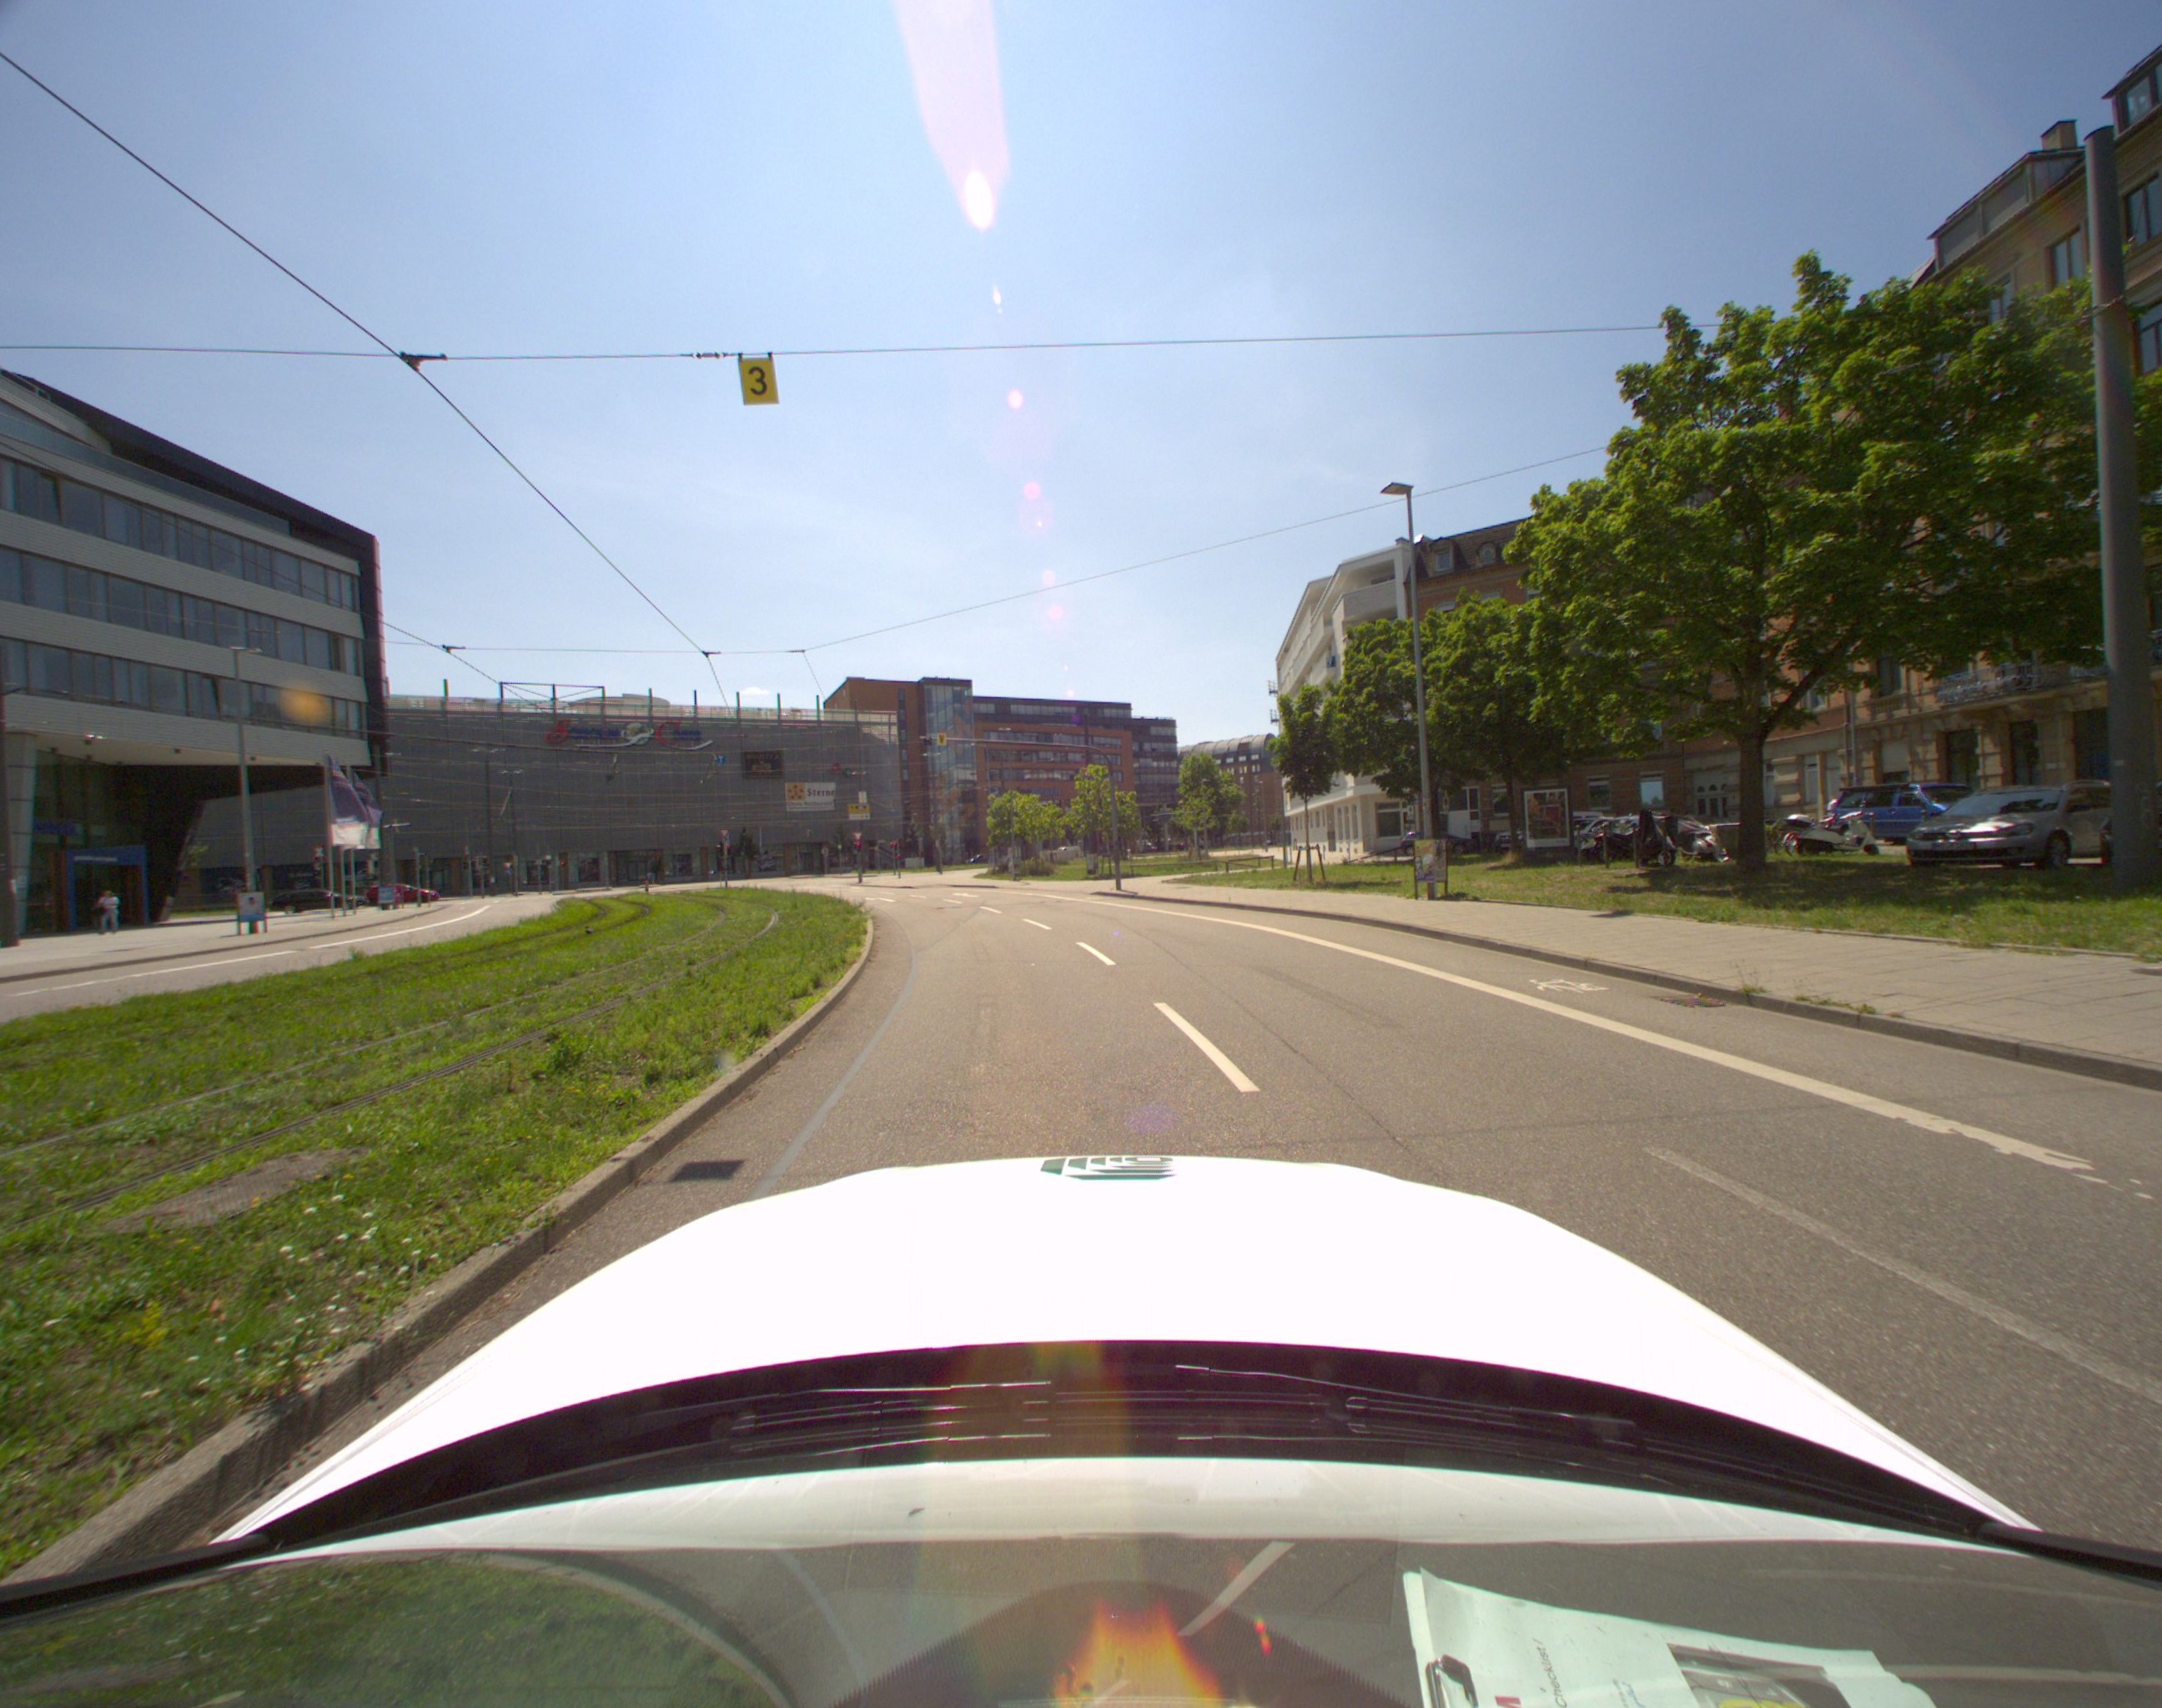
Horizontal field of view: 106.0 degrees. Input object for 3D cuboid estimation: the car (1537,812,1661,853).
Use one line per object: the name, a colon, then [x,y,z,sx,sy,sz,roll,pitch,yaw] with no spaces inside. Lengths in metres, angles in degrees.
car: [18.965,-0.772,29.848,4.000,1.332,1.747,-2,0,-20]

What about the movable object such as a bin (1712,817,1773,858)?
movable object such as a bin: [16.299,-0.403,20.088,0.978,0.937,0.705,-2,0,19]

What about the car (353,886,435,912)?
car: [-48.272,3.110,57.335,4.155,1.508,1.823,-2,0,-34]

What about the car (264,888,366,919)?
car: [-49.663,3.193,52.947,4.562,1.508,1.822,-4,1,-37]

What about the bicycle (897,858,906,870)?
bicycle: [-26.391,1.476,119.845,0.602,1.731,2.239,-2,0,-28]

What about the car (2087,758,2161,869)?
car: [16.343,-0.616,11.284,4.093,1.469,1.786,-2,0,-20]

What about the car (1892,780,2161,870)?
car: [16.443,-0.509,14.139,4.347,1.376,1.573,-2,0,-19]

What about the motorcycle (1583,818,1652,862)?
motorcycle: [14.781,-0.381,22.461,1.512,1.120,0.479,-2,0,7]

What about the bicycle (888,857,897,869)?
bicycle: [-27.638,1.372,119.215,0.602,1.731,2.239,-2,0,-28]

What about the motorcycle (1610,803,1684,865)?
motorcycle: [13.742,-0.478,19.843,0.671,1.413,1.861,-4,0,9]

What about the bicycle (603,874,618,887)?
bicycle: [-55.196,3.061,95.538,1.066,1.390,3.001,-2,0,-23]

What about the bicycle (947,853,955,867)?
bicycle: [-20.001,0.924,125.026,0.487,2.013,2.325,-2,0,-27]

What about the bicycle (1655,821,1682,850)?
bicycle: [17.442,-0.560,24.169,0.492,0.805,1.465,-2,0,42]

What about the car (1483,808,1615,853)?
car: [18.552,-0.933,32.287,4.875,1.600,1.824,-2,0,-20]

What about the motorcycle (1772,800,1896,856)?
motorcycle: [18.483,-0.627,20.055,2.060,1.236,0.817,-3,0,23]

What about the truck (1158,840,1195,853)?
truck: [23.053,-1.777,197.119,9.121,2.809,2.013,-2,0,40]

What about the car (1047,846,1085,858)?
car: [-2.233,-0.288,121.154,5.505,1.668,1.978,-2,0,-36]

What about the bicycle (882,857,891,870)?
bicycle: [-28.408,1.388,118.803,0.602,1.731,2.239,-2,0,-28]

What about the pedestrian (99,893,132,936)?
pedestrian: [-35.252,2.190,29.735,0.574,1.518,0.593,-2,0,21]

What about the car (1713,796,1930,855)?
car: [20.201,-0.759,22.428,3.957,1.376,1.965,-2,0,15]

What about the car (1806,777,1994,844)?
car: [26.620,-1.331,26.761,1.909,1.903,4.665,-2,0,8]

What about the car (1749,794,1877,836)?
car: [28.686,-1.474,32.091,1.762,1.420,4.008,-2,0,7]

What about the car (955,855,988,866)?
car: [-14.870,0.874,110.607,4.013,1.442,1.726,-2,0,-31]

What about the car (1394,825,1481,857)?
car: [19.749,-0.725,45.201,4.077,1.624,1.706,-2,0,37]

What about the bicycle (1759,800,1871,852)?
bicycle: [19.021,-0.703,21.144,2.062,1.236,0.634,-2,0,18]

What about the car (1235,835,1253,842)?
car: [41.055,-3.926,204.601,3.948,1.728,1.878,-2,0,38]

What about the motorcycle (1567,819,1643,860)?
motorcycle: [15.033,-0.415,23.400,1.815,1.120,0.528,-2,0,0]

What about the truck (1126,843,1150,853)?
truck: [13.508,-1.397,193.236,5.310,2.013,1.894,-2,0,35]

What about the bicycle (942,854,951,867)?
bicycle: [-20.584,0.954,124.696,0.487,2.013,2.325,-2,0,-27]

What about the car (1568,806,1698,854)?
car: [17.972,-0.778,26.508,3.871,1.432,1.596,-2,0,-22]

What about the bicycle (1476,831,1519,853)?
bicycle: [19.020,-0.546,37.175,2.053,0.935,0.504,-2,0,-23]

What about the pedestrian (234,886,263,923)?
pedestrian: [-38.314,2.333,37.466,0.903,1.630,0.754,-2,0,36]
